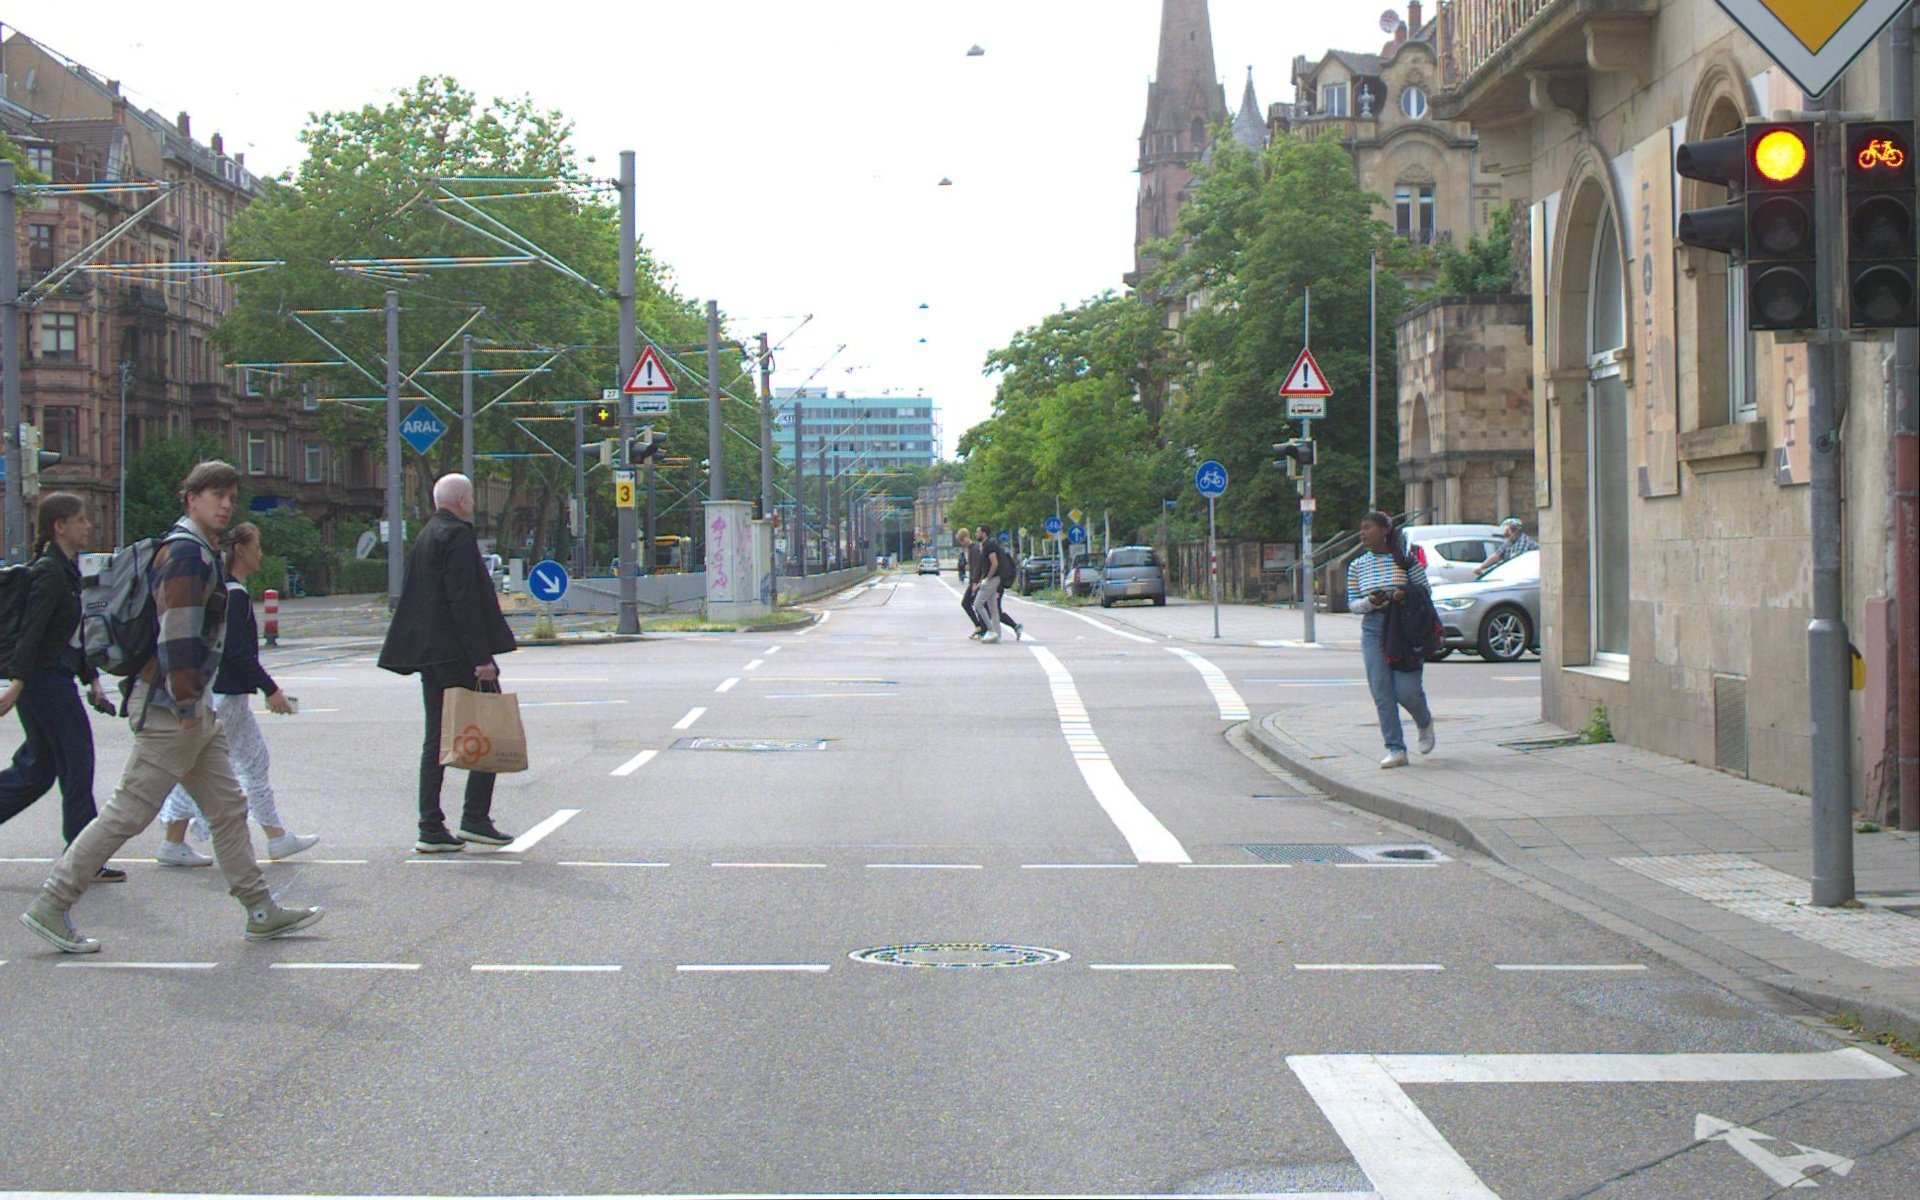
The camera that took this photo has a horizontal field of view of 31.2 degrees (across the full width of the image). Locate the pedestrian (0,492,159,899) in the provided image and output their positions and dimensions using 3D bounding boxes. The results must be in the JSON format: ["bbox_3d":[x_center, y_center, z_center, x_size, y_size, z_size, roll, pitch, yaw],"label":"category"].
[{"bbox_3d":[-3.945,0.379,14.394,0.627,1.647,0.995,1,1,30],"label":"pedestrian"}]

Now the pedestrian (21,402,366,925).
[{"bbox_3d":[-2.705,0.211,12.103,1.130,1.772,0.628,0,0,-18],"label":"pedestrian"}]

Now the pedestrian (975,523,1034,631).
[{"bbox_3d":[0.689,-0.360,53.389,0.850,1.648,0.508,1,0,-2],"label":"pedestrian"}]

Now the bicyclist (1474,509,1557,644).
[{"bbox_3d":[7.533,-0.317,46.649,0.965,1.813,0.532,1,1,-29],"label":"bicyclist"}]

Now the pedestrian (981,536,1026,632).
[{"bbox_3d":[0.702,-0.259,55.356,0.653,1.531,0.466,1,0,-5],"label":"pedestrian"}]

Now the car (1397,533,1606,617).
[{"bbox_3d":[10.730,-0.504,68.317,3.799,1.595,2.000,1,1,0],"label":"car"}]

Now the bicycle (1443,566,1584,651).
[{"bbox_3d":[7.508,0.115,46.625,1.899,1.138,0.629,0,1,-29],"label":"bicycle"}]

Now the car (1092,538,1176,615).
[{"bbox_3d":[4.708,-0.649,93.647,1.993,2.007,4.000,1,1,-1],"label":"car"}]

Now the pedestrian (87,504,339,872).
[{"bbox_3d":[-3.346,0.375,15.414,0.702,1.587,0.829,1,1,37],"label":"pedestrian"}]

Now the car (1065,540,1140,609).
[{"bbox_3d":[4.239,-0.765,103.080,1.993,2.007,4.000,1,1,-1],"label":"car"}]

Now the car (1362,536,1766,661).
[{"bbox_3d":[7.597,-0.014,43.239,4.716,1.505,1.839,1,1,-22],"label":"car"}]

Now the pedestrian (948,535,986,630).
[{"bbox_3d":[0.113,-0.282,55.832,0.545,1.531,0.466,1,0,-5],"label":"pedestrian"}]

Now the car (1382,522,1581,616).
[{"bbox_3d":[10.853,-0.647,71.727,3.799,1.897,2.000,1,1,0],"label":"car"}]

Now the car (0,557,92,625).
[{"bbox_3d":[-22.258,-0.232,82.561,1.894,1.552,3.836,1,1,-1],"label":"car"}]

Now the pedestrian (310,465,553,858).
[{"bbox_3d":[-2.470,0.269,16.051,0.917,1.778,0.646,1,1,37],"label":"pedestrian"}]

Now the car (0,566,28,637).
[{"bbox_3d":[-21.989,0.019,75.733,1.894,1.552,3.836,1,1,-1],"label":"car"}]

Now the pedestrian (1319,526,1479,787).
[{"bbox_3d":[2.891,0.360,22.607,0.671,1.674,0.866,1,1,38],"label":"pedestrian"}]
